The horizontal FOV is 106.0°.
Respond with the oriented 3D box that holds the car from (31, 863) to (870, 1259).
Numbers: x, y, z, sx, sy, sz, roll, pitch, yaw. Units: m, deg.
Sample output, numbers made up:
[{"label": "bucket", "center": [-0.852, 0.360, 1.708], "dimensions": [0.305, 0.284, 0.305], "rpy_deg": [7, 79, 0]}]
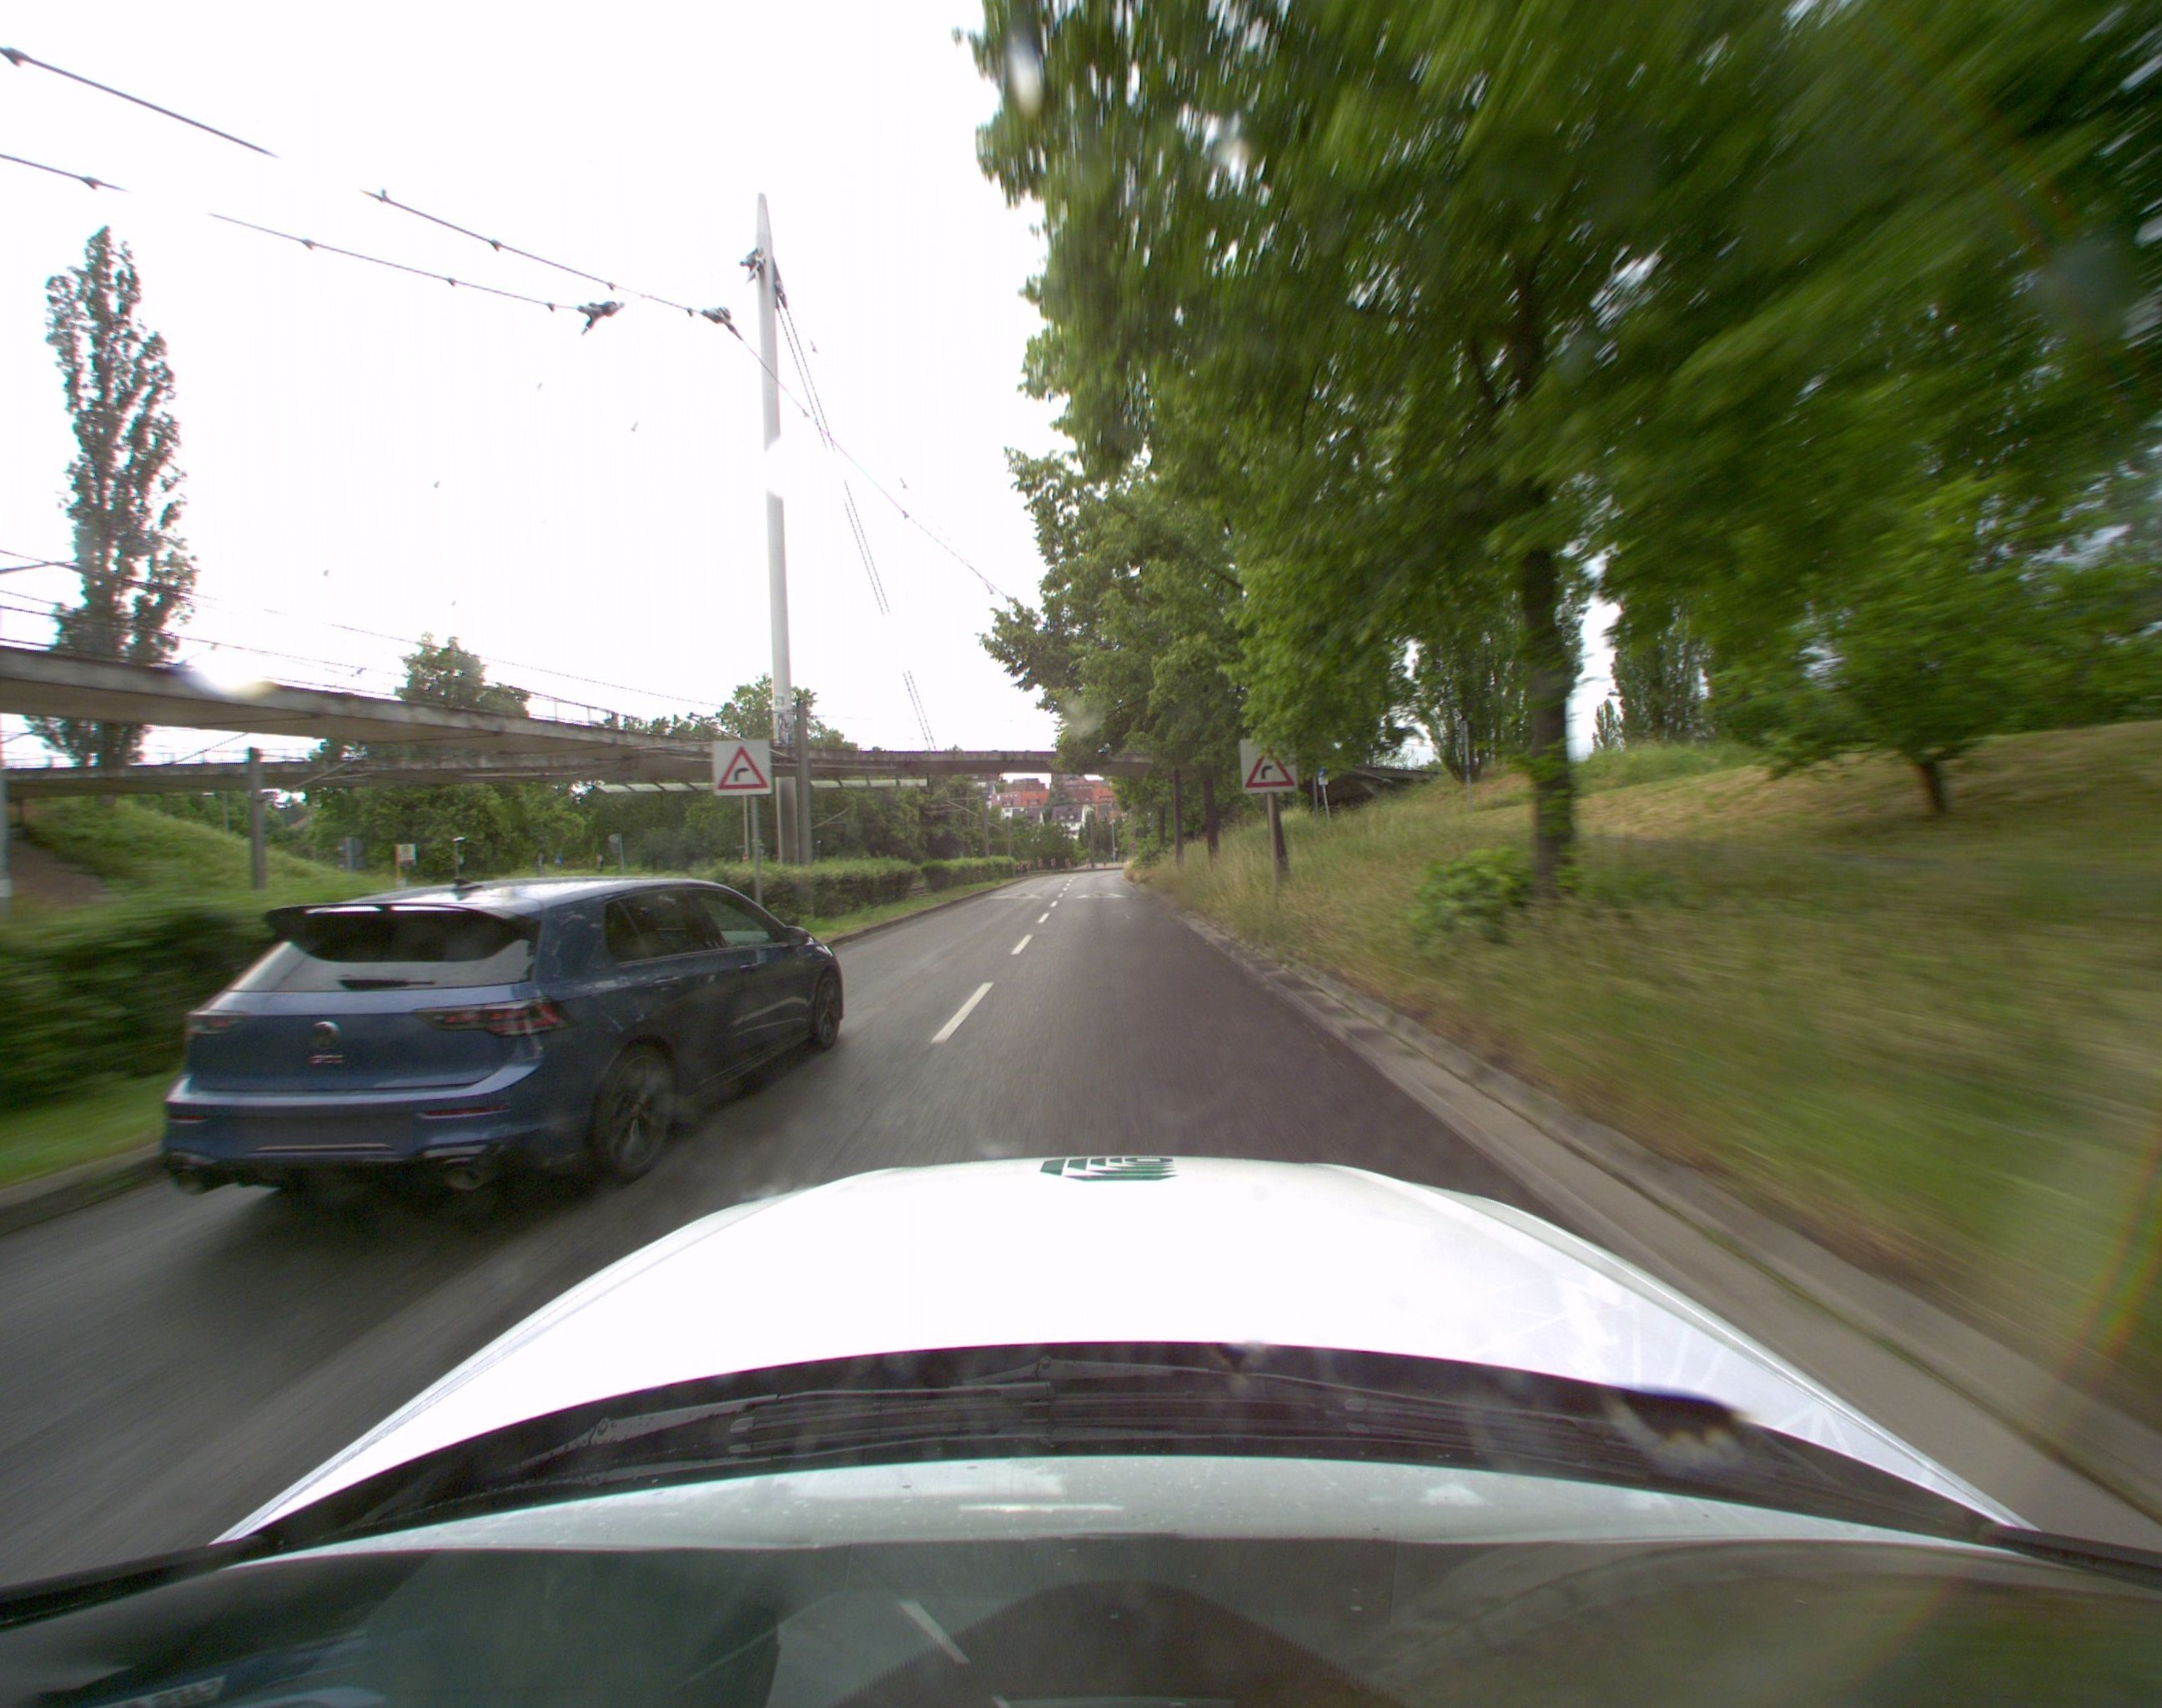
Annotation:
[{"label": "car", "center": [-2.925, 0.802, 5.204], "dimensions": [1.801, 1.378, 4.350], "rpy_deg": [-2, 0, 3]}]
